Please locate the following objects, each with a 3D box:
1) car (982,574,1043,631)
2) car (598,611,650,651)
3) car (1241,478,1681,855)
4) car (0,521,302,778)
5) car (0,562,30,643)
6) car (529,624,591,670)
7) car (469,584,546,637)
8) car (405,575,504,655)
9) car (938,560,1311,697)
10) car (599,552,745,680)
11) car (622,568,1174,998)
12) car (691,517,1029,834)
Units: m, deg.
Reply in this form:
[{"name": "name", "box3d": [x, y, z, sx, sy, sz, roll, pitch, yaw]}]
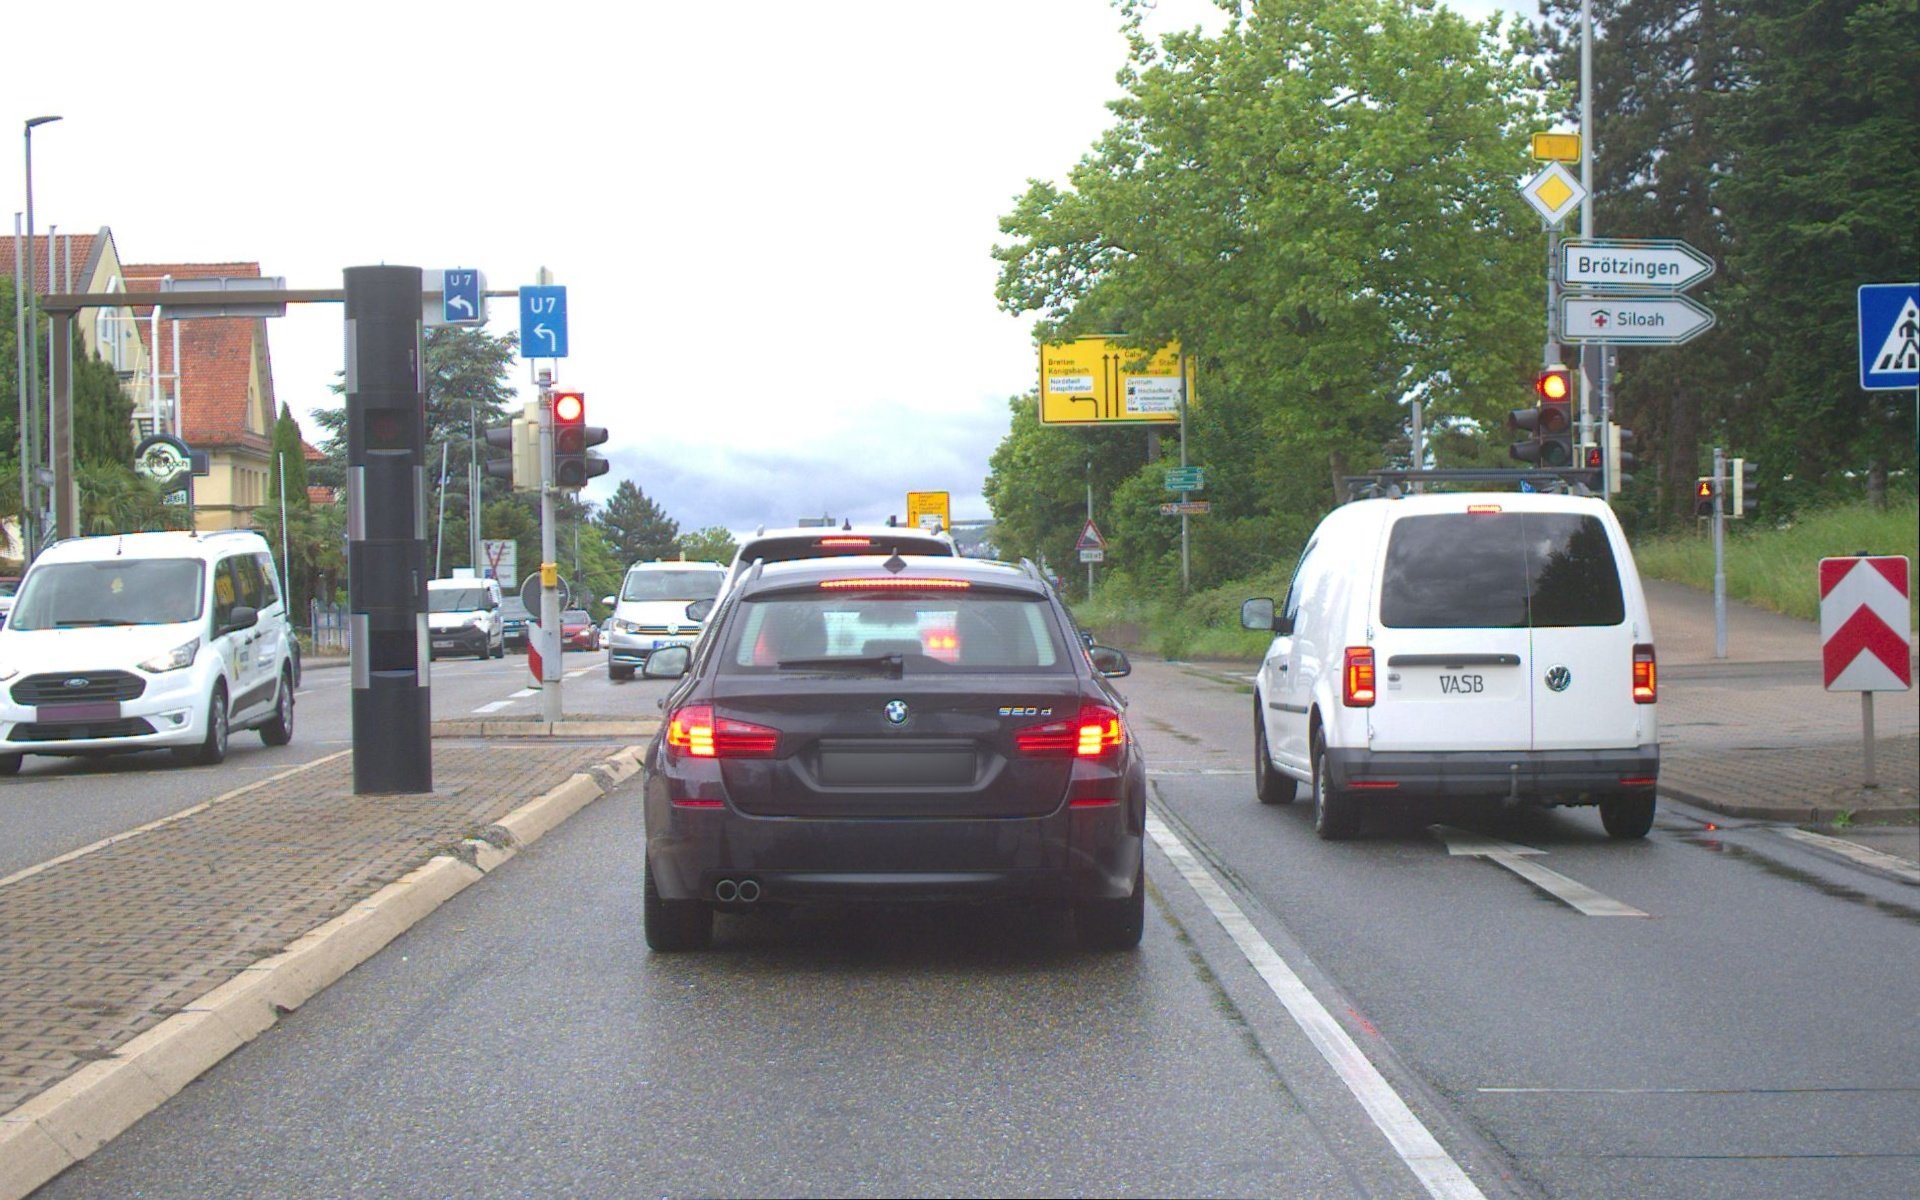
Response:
[{"name": "car", "box3d": [1.443, 0.060, 93.948, 1.600, 1.367, 3.680, -1, 2, 1]}, {"name": "car", "box3d": [-12.595, 1.157, 129.036, 1.668, 1.349, 3.443, -1, 1, -1]}, {"name": "car", "box3d": [2.644, 0.316, 19.005, 1.741, 1.863, 3.946, 0, 0, -2]}, {"name": "car", "box3d": [-6.616, 0.352, 27.595, 1.857, 1.817, 4.580, -3, 1, -2]}, {"name": "car", "box3d": [-19.182, 0.090, 62.290, 4.193, 1.451, 1.801, -2, 1, -28]}, {"name": "car", "box3d": [-13.013, 1.532, 111.967, 1.668, 1.349, 3.443, -1, 1, -1]}, {"name": "car", "box3d": [-12.294, 0.272, 93.522, 1.668, 1.349, 3.443, -1, 1, -1]}, {"name": "car", "box3d": [-11.125, 0.310, 75.899, 1.668, 1.664, 3.683, -1, 1, -1]}, {"name": "car", "box3d": [1.866, 0.310, 38.703, 4.084, 1.451, 1.901, -1, 1, 4]}, {"name": "car", "box3d": [-3.972, 0.198, 47.914, 1.734, 1.686, 4.000, -1, 0, -1]}, {"name": "car", "box3d": [-0.142, 0.598, 13.582, 1.855, 1.414, 3.956, 0, 1, 2]}, {"name": "car", "box3d": [-0.514, 0.376, 20.331, 1.728, 1.705, 3.382, 0, 1, 3]}]
